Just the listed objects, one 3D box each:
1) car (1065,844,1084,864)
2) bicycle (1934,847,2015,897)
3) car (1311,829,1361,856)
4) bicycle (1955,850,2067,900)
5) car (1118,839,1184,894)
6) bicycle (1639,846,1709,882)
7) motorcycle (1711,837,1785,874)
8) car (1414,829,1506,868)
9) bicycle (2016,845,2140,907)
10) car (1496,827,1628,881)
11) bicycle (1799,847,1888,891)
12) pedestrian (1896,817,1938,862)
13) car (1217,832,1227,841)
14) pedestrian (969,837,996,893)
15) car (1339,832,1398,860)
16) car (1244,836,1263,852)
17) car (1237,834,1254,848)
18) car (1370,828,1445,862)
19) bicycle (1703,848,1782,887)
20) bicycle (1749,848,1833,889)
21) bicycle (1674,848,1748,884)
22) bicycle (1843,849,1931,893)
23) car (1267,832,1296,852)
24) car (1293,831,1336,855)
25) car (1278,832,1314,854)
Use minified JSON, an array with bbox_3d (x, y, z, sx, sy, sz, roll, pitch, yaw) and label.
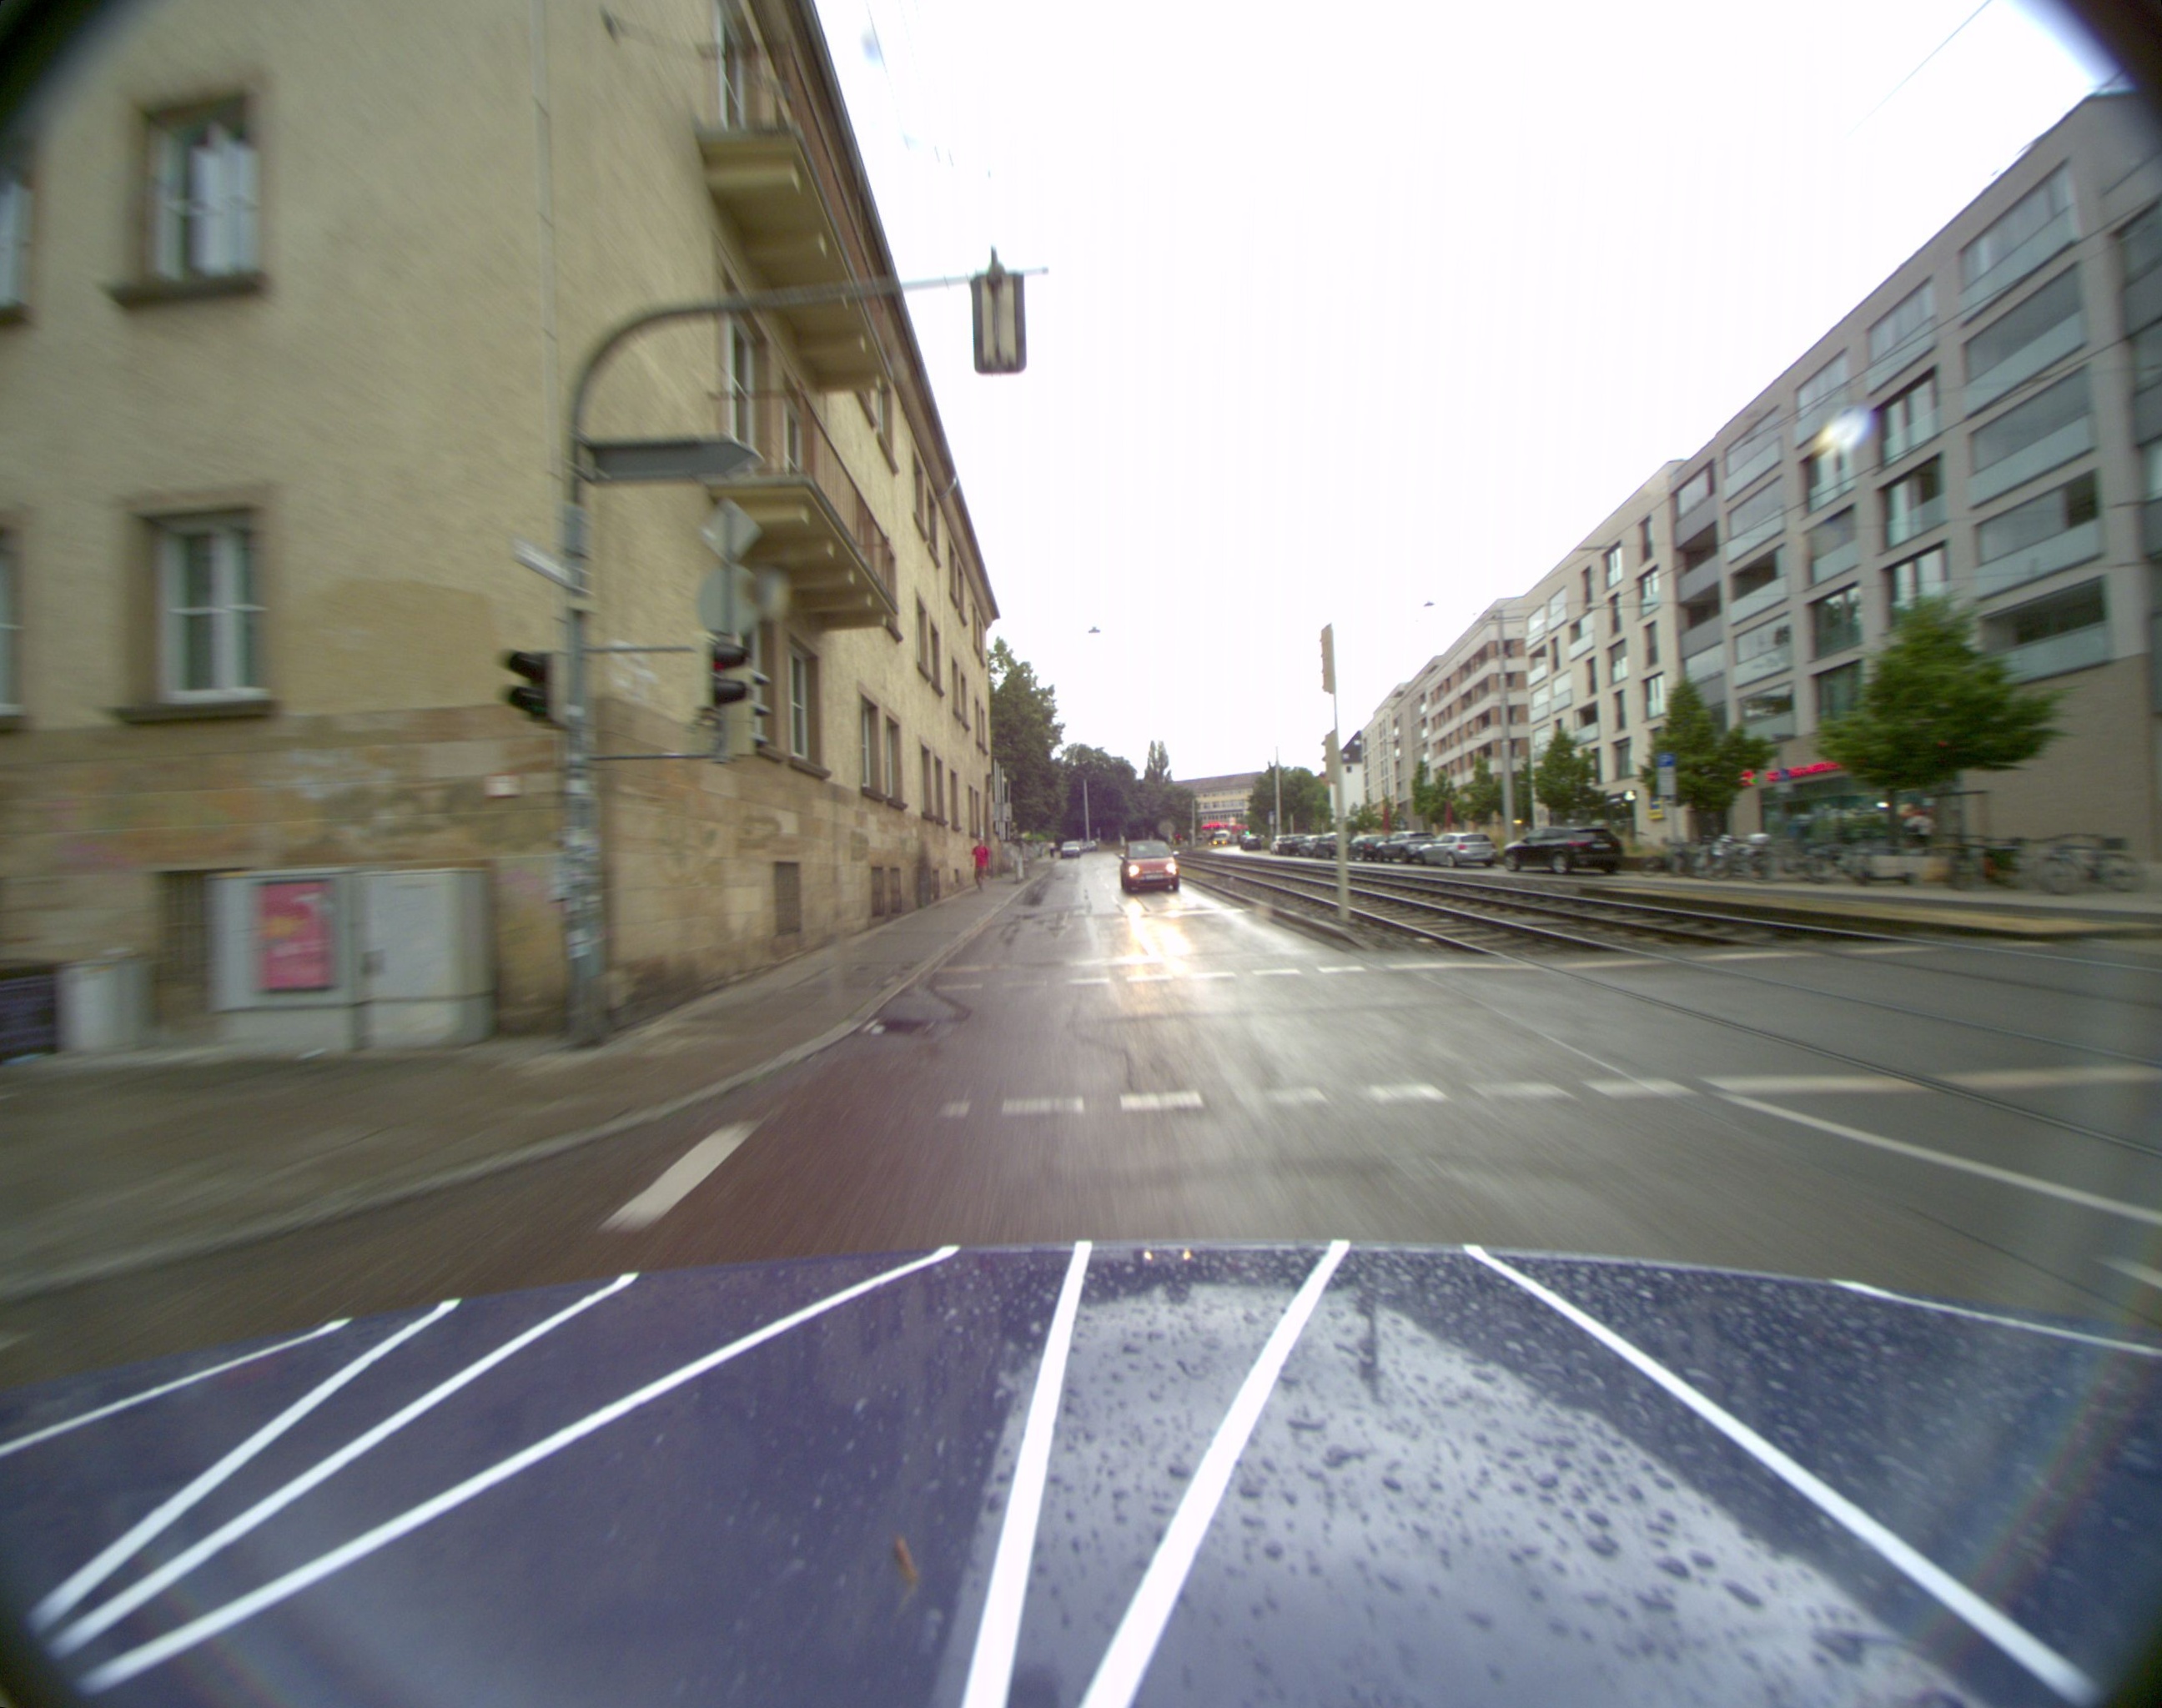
[{"bbox_3d":[-0.631,-0.055,72.894,1.726,1.676,3.865,-5,2,-1],"label":"car"},{"bbox_3d":[18.631,0.361,15.836,1.790,0.912,0.387,-4,2,-17],"label":"bicycle"},{"bbox_3d":[15.813,-0.732,47.316,1.684,1.555,3.927,-4,2,0],"label":"car"},{"bbox_3d":[18.420,0.415,15.051,1.788,0.871,0.387,-3,2,-2],"label":"bicycle"},{"bbox_3d":[2.105,0.332,23.790,1.594,1.456,3.669,-5,2,0],"label":"car"},{"bbox_3d":[17.093,0.280,21.905,1.788,0.912,0.387,-3,2,-4],"label":"bicycle"},{"bbox_3d":[20.040,0.048,22.837,1.763,1.037,0.542,-2,3,-3],"label":"motorcycle"},{"bbox_3d":[16.116,-0.288,32.538,1.684,1.456,4.328,-4,2,0],"label":"car"},{"bbox_3d":[18.116,0.393,13.815,1.788,0.975,0.440,-4,2,-4],"label":"bicycle"},{"bbox_3d":[16.189,-0.060,25.868,1.684,1.595,4.328,-4,2,0],"label":"car"},{"bbox_3d":[17.913,0.348,17.858,1.788,0.912,0.387,-4,2,-4],"label":"bicycle"},{"bbox_3d":[27.804,-0.477,25.289,0.540,1.441,0.803,-4,2,13],"label":"pedestrian"},{"bbox_3d":[29.989,-3.679,161.176,1.666,1.598,3.811,-4,2,15],"label":"car"},{"bbox_3d":[-3.151,0.332,24.398,0.748,1.754,0.818,1,2,-1],"label":"pedestrian"},{"bbox_3d":[15.943,-0.483,42.290,1.684,1.373,4.032,-4,2,0],"label":"car"},{"bbox_3d":[18.448,-1.060,81.184,1.653,1.456,3.671,-4,2,9],"label":"car"},{"bbox_3d":[19.345,-1.513,89.631,1.653,1.456,3.671,-4,2,9],"label":"car"},{"bbox_3d":[16.096,-0.458,37.686,1.685,1.521,4.047,-4,2,-5],"label":"car"},{"bbox_3d":[17.205,0.349,19.772,1.788,0.912,0.387,-3,2,-4],"label":"bicycle"},{"bbox_3d":[17.629,0.346,18.871,1.788,0.912,0.387,-3,2,-4],"label":"bicycle"},{"bbox_3d":[17.360,0.327,20.950,1.788,0.912,0.387,-3,2,-4],"label":"bicycle"},{"bbox_3d":[18.089,0.376,17.050,1.789,0.912,0.387,-2,2,-8],"label":"bicycle"},{"bbox_3d":[16.430,-0.999,62.517,1.649,1.496,3.781,-3,2,6],"label":"car"},{"bbox_3d":[16.098,-0.762,52.539,1.684,1.496,3.927,-4,2,0],"label":"car"},{"bbox_3d":[16.165,-0.896,57.344,1.683,1.496,4.405,-3,2,5],"label":"car"}]
